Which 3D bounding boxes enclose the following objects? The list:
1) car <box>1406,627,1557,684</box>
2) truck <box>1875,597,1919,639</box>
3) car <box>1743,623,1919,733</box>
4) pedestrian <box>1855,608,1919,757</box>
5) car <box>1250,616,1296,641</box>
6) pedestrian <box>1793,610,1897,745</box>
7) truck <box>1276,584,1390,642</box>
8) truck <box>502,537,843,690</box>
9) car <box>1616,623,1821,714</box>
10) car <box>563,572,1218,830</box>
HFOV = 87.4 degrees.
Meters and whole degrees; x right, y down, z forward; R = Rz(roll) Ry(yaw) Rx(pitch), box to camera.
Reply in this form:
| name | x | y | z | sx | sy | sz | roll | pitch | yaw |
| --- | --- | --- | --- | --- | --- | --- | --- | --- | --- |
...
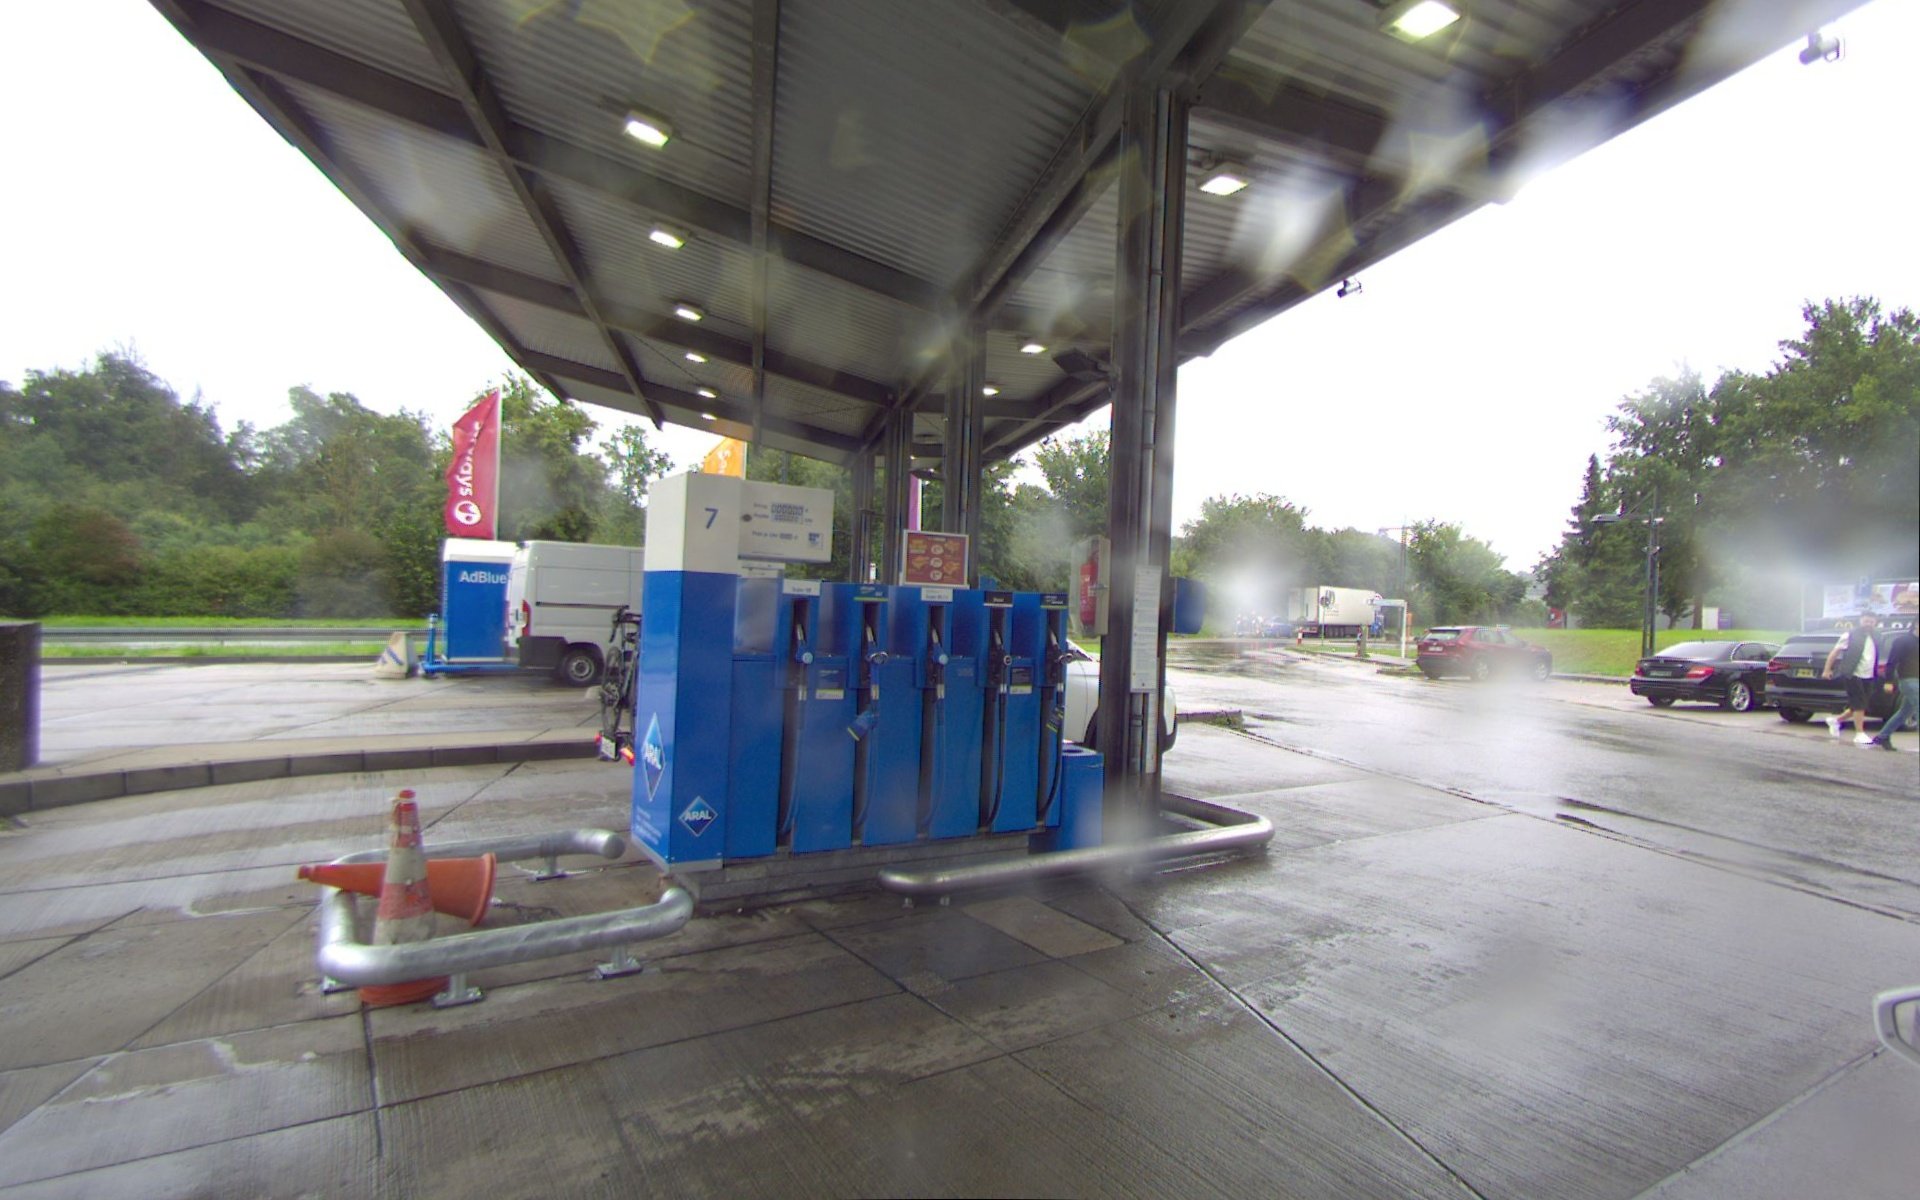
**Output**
| name | x | y | z | sx | sy | sz | roll | pitch | yaw |
| --- | --- | --- | --- | --- | --- | --- | --- | --- | --- |
| car | 16.086 | 1.669 | 31.001 | 4.283 | 1.666 | 1.933 | 1 | -2 | -25 |
| truck | 68.866 | 1.321 | 71.697 | 5.285 | 2.959 | 2.191 | 2 | 0 | -5 |
| car | 16.181 | 1.271 | 17.467 | 4.274 | 1.734 | 2.016 | 1 | -1 | -18 |
| pedestrian | 12.658 | 1.069 | 13.335 | 0.691 | 1.912 | 0.892 | 2 | 0 | -10 |
| car | 22.915 | 2.059 | 73.436 | 1.787 | 1.704 | 3.934 | 2 | 0 | 40 |
| pedestrian | 13.163 | 1.120 | 14.968 | 0.690 | 1.912 | 0.954 | 2 | 0 | 6 |
| truck | 31.892 | 1.182 | 85.150 | 3.498 | 4.397 | 16.922 | 2 | 0 | 40 |
| truck | -5.329 | 0.292 | 18.941 | 5.793 | 2.527 | 2.221 | 2 | 0 | -30 |
| car | 15.951 | 1.357 | 21.090 | 4.293 | 1.734 | 2.007 | 1 | -2 | -31 |
| car | -0.417 | 0.702 | 8.459 | 5.210 | 1.629 | 1.852 | 2 | 0 | -30 |
